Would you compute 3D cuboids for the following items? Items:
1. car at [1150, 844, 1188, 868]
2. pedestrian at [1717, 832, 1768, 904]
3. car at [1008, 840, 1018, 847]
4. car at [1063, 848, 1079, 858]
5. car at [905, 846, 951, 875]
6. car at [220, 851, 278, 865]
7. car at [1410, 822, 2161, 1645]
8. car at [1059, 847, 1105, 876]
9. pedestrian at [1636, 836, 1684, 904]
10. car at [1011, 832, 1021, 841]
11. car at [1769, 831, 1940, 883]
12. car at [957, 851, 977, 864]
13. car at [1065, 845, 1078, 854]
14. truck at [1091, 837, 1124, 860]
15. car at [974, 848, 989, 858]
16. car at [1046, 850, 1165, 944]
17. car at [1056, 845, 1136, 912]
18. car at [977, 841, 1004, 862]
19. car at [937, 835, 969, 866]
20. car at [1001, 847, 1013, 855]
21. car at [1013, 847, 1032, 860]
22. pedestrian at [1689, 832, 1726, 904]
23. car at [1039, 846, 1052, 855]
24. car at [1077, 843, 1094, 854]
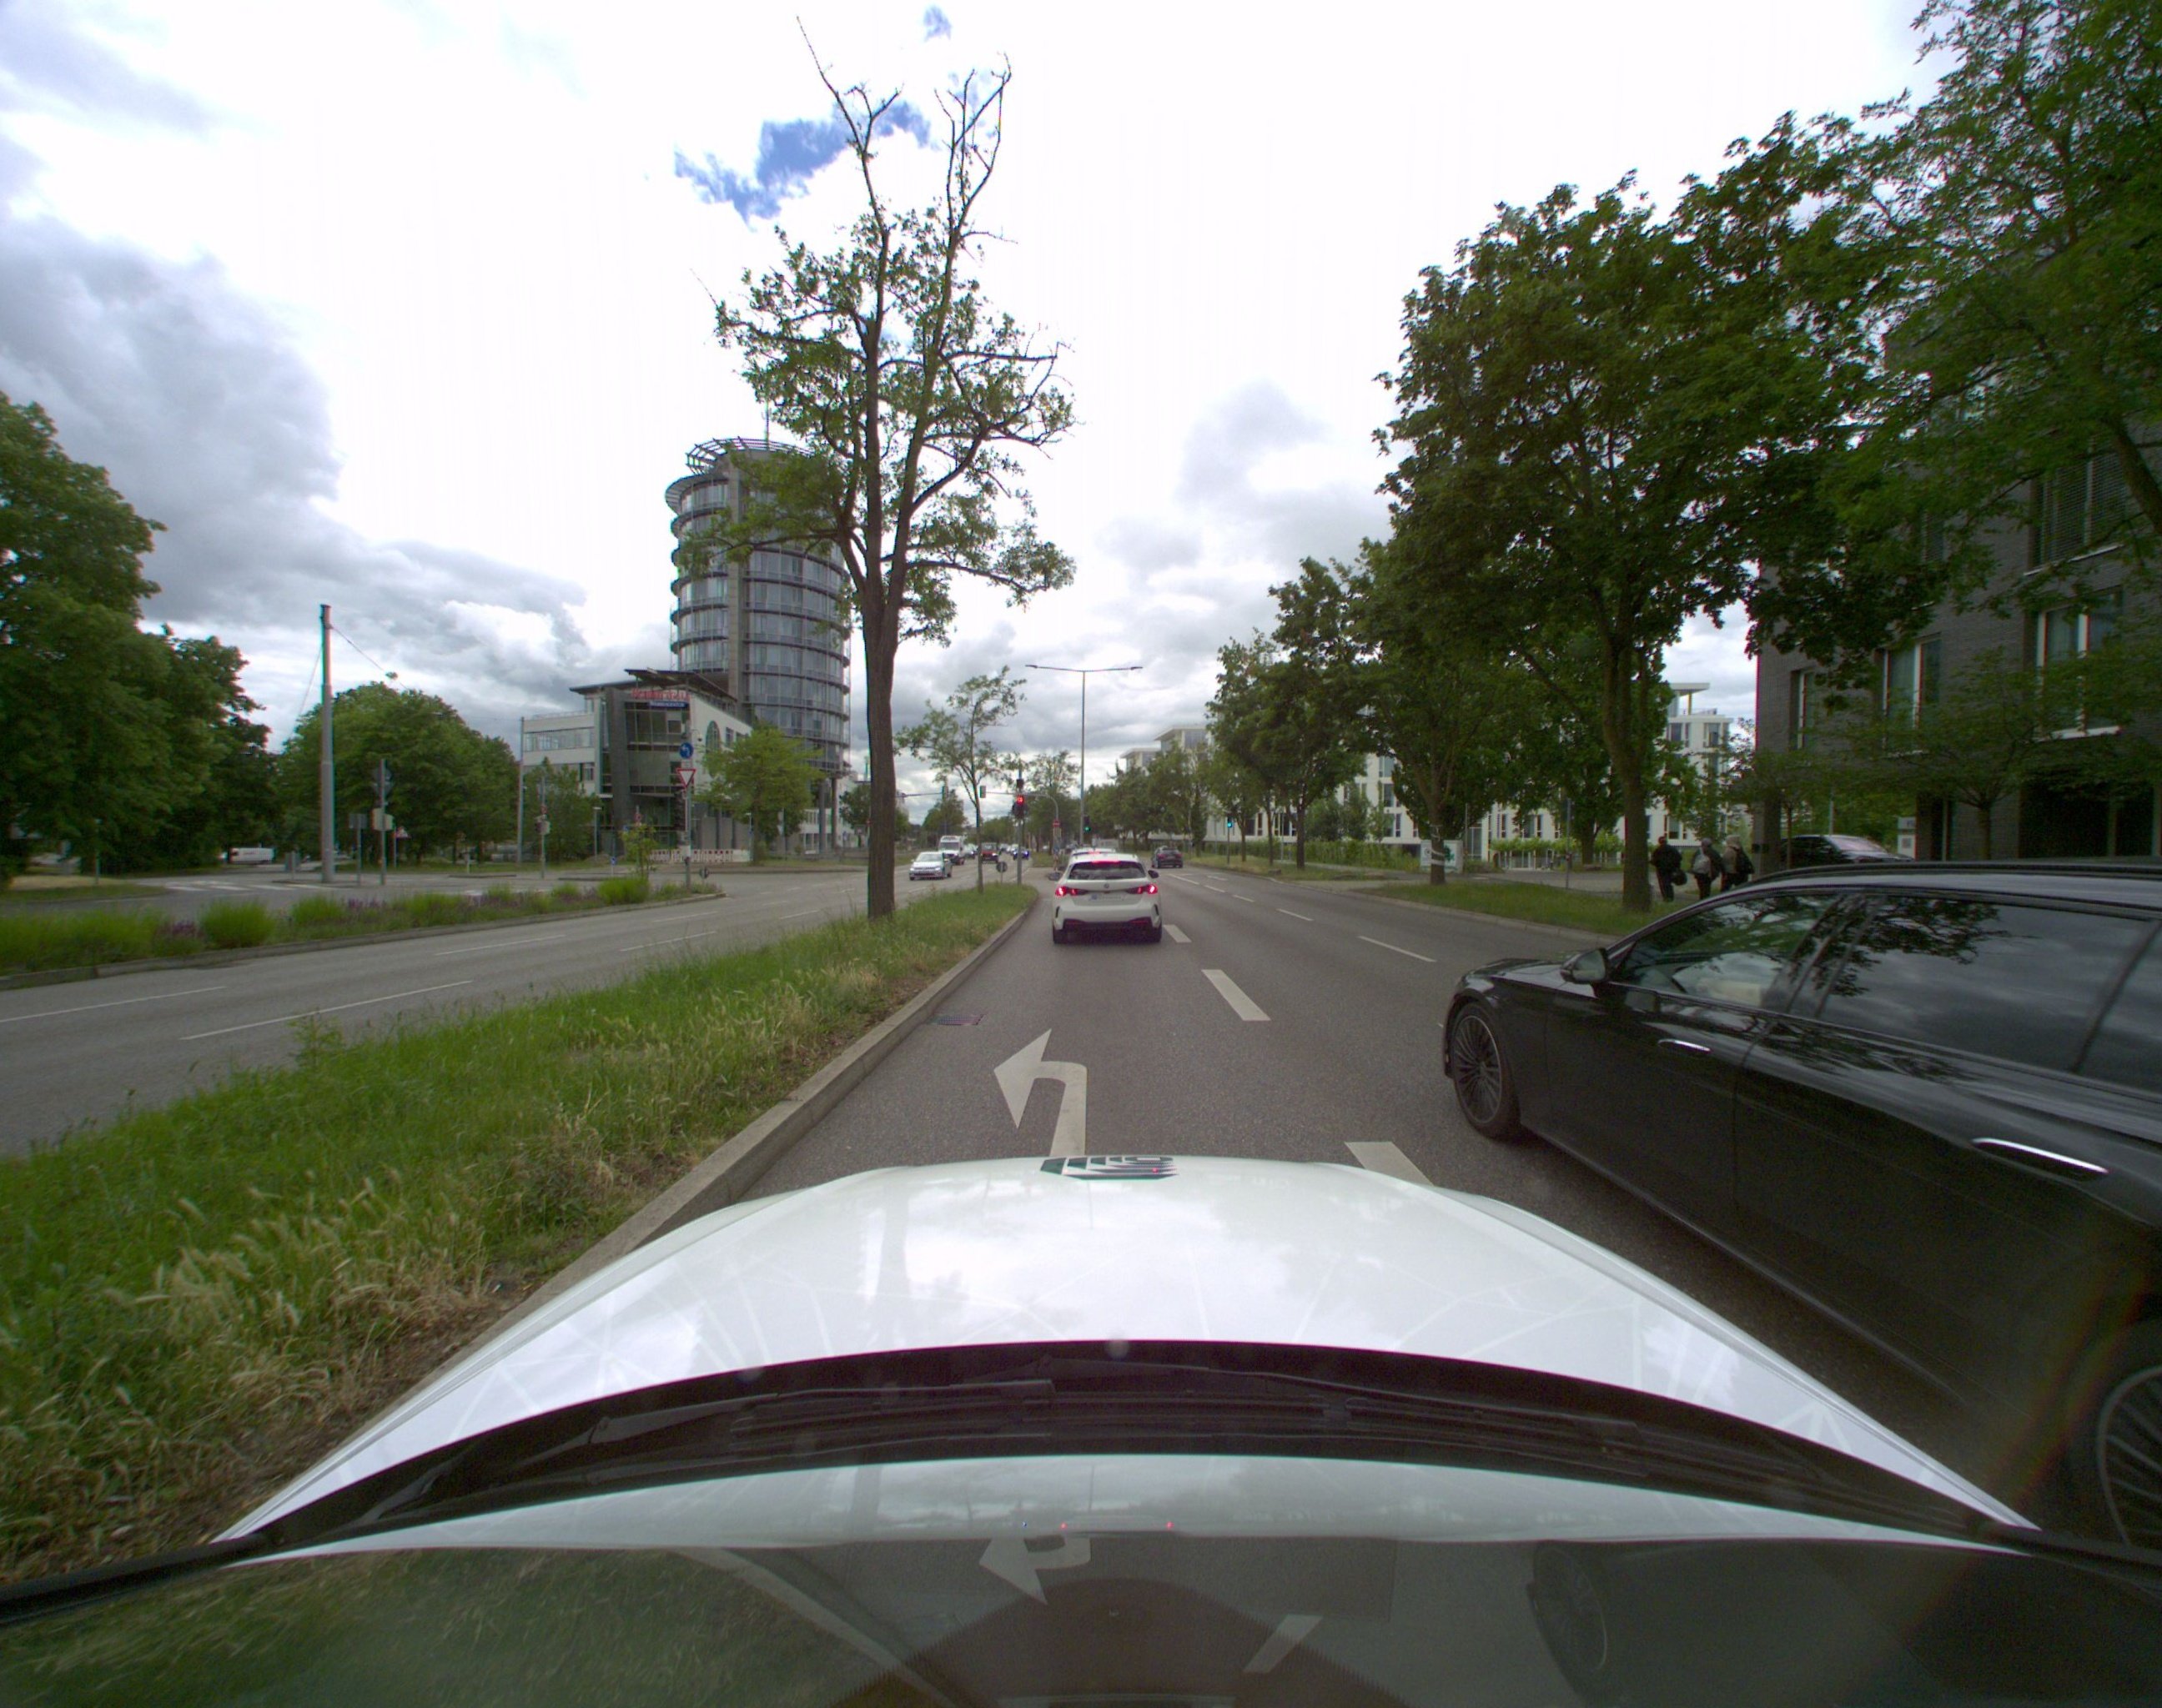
[{"bbox_3d":[5.982,0.129,55.790,1.988,1.596,3.997,0,0,-2],"label":"car"},{"bbox_3d":[14.664,0.298,18.069,0.586,1.552,0.745,0,0,6],"label":"pedestrian"},{"bbox_3d":[-16.533,-2.510,198.107,1.986,1.618,4.001,2,0,1],"label":"car"},{"bbox_3d":[-1.630,-0.182,128.693,1.992,1.508,3.990,0,0,-8],"label":"car"},{"bbox_3d":[-8.113,0.295,43.565,1.748,1.444,4.132,2,0,-1],"label":"car"},{"bbox_3d":[-128.125,0.574,125.542,1.977,2.013,6.012,0,0,18],"label":"car"},{"bbox_3d":[3.009,0.676,2.613,2.045,1.486,4.975,0,0,2],"label":"car"},{"bbox_3d":[0.110,0.379,43.719,1.983,1.508,4.008,0,0,7],"label":"car"},{"bbox_3d":[13.427,0.361,18.905,0.721,1.552,0.588,0,0,6],"label":"pedestrian"},{"bbox_3d":[-14.370,-3.899,180.917,1.988,2.010,4.322,2,0,-1],"label":"car"},{"bbox_3d":[25.080,0.073,26.629,1.817,1.552,4.183,0,0,3],"label":"car"},{"bbox_3d":[-13.652,0.393,97.649,1.701,1.419,3.804,-1,0,1],"label":"car"},{"bbox_3d":[-1.564,-0.770,131.430,1.988,1.490,3.998,0,1,-1],"label":"car"},{"bbox_3d":[2.934,-0.617,91.656,2.856,2.519,6.272,0,0,-7],"label":"truck"},{"bbox_3d":[-15.008,-0.120,122.782,1.701,1.419,3.804,-1,0,1],"label":"car"},{"bbox_3d":[0.511,0.673,14.687,1.855,1.449,4.004,0,0,4],"label":"car"},{"bbox_3d":[0.453,0.607,22.276,1.986,1.672,4.002,0,0,2],"label":"car"},{"bbox_3d":[-8.645,-0.220,77.883,1.928,1.918,4.974,0,0,1],"label":"car"},{"bbox_3d":[-11.430,-0.339,72.961,1.988,2.634,5.872,1,0,-1],"label":"car"},{"bbox_3d":[-13.972,-0.618,153.301,1.988,1.490,3.998,0,1,-1],"label":"car"},{"bbox_3d":[-6.527,-0.104,90.674,1.747,1.371,3.781,-1,0,1],"label":"car"},{"bbox_3d":[13.904,0.301,18.069,0.407,1.552,0.563,1,0,6],"label":"pedestrian"},{"bbox_3d":[-5.944,-0.536,137.245,1.988,1.490,3.998,0,1,-1],"label":"car"},{"bbox_3d":[0.599,-0.747,110.029,1.991,1.508,3.992,0,1,-6],"label":"car"}]
